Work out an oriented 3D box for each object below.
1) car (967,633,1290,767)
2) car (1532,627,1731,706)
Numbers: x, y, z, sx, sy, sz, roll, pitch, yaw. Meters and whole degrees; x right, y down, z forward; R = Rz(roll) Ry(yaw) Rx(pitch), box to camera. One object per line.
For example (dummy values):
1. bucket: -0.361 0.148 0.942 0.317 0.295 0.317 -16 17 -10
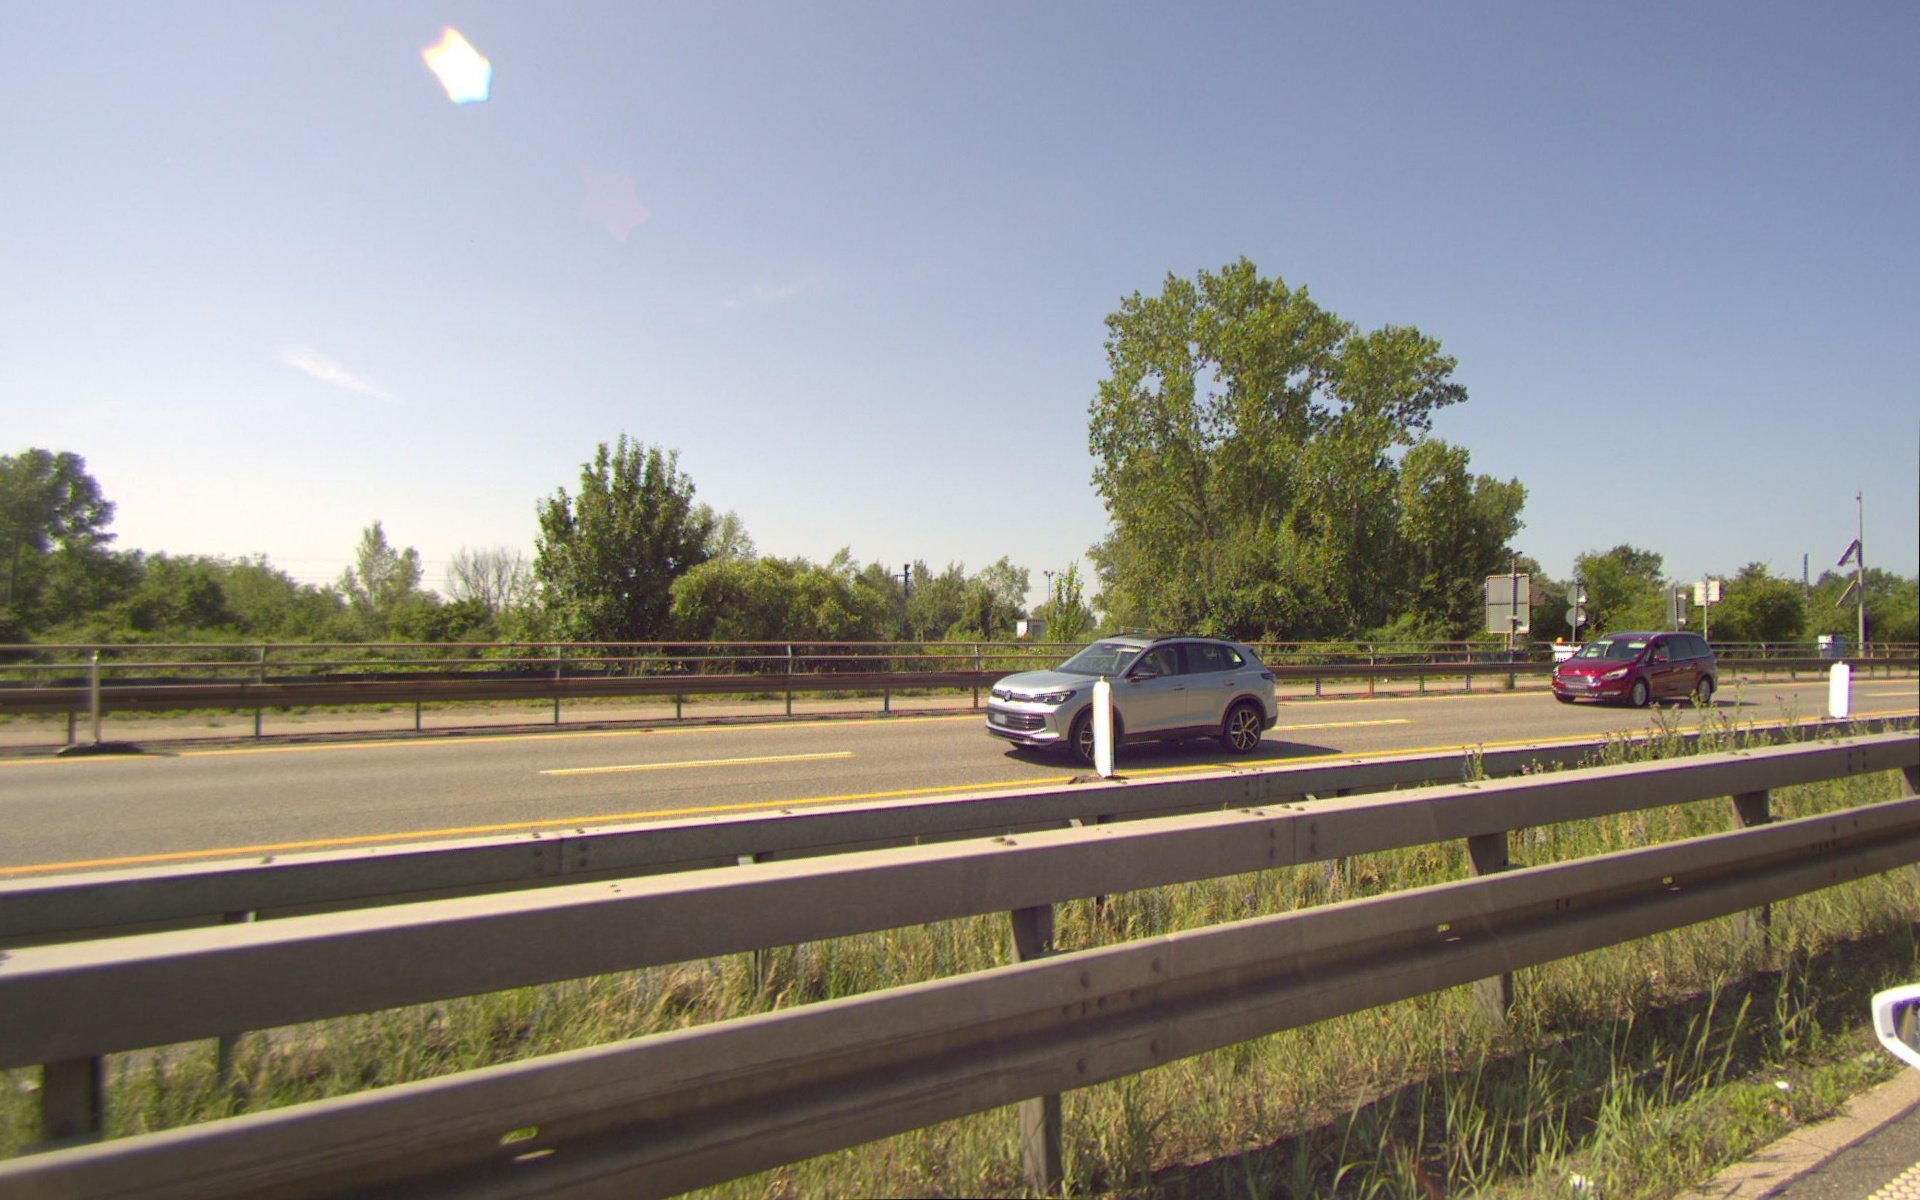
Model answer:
1. car: 2.435 1.306 14.396 4.320 1.672 1.902 1 -2 -28
2. car: 16.434 1.561 24.539 4.956 1.757 1.902 1 -2 -28
